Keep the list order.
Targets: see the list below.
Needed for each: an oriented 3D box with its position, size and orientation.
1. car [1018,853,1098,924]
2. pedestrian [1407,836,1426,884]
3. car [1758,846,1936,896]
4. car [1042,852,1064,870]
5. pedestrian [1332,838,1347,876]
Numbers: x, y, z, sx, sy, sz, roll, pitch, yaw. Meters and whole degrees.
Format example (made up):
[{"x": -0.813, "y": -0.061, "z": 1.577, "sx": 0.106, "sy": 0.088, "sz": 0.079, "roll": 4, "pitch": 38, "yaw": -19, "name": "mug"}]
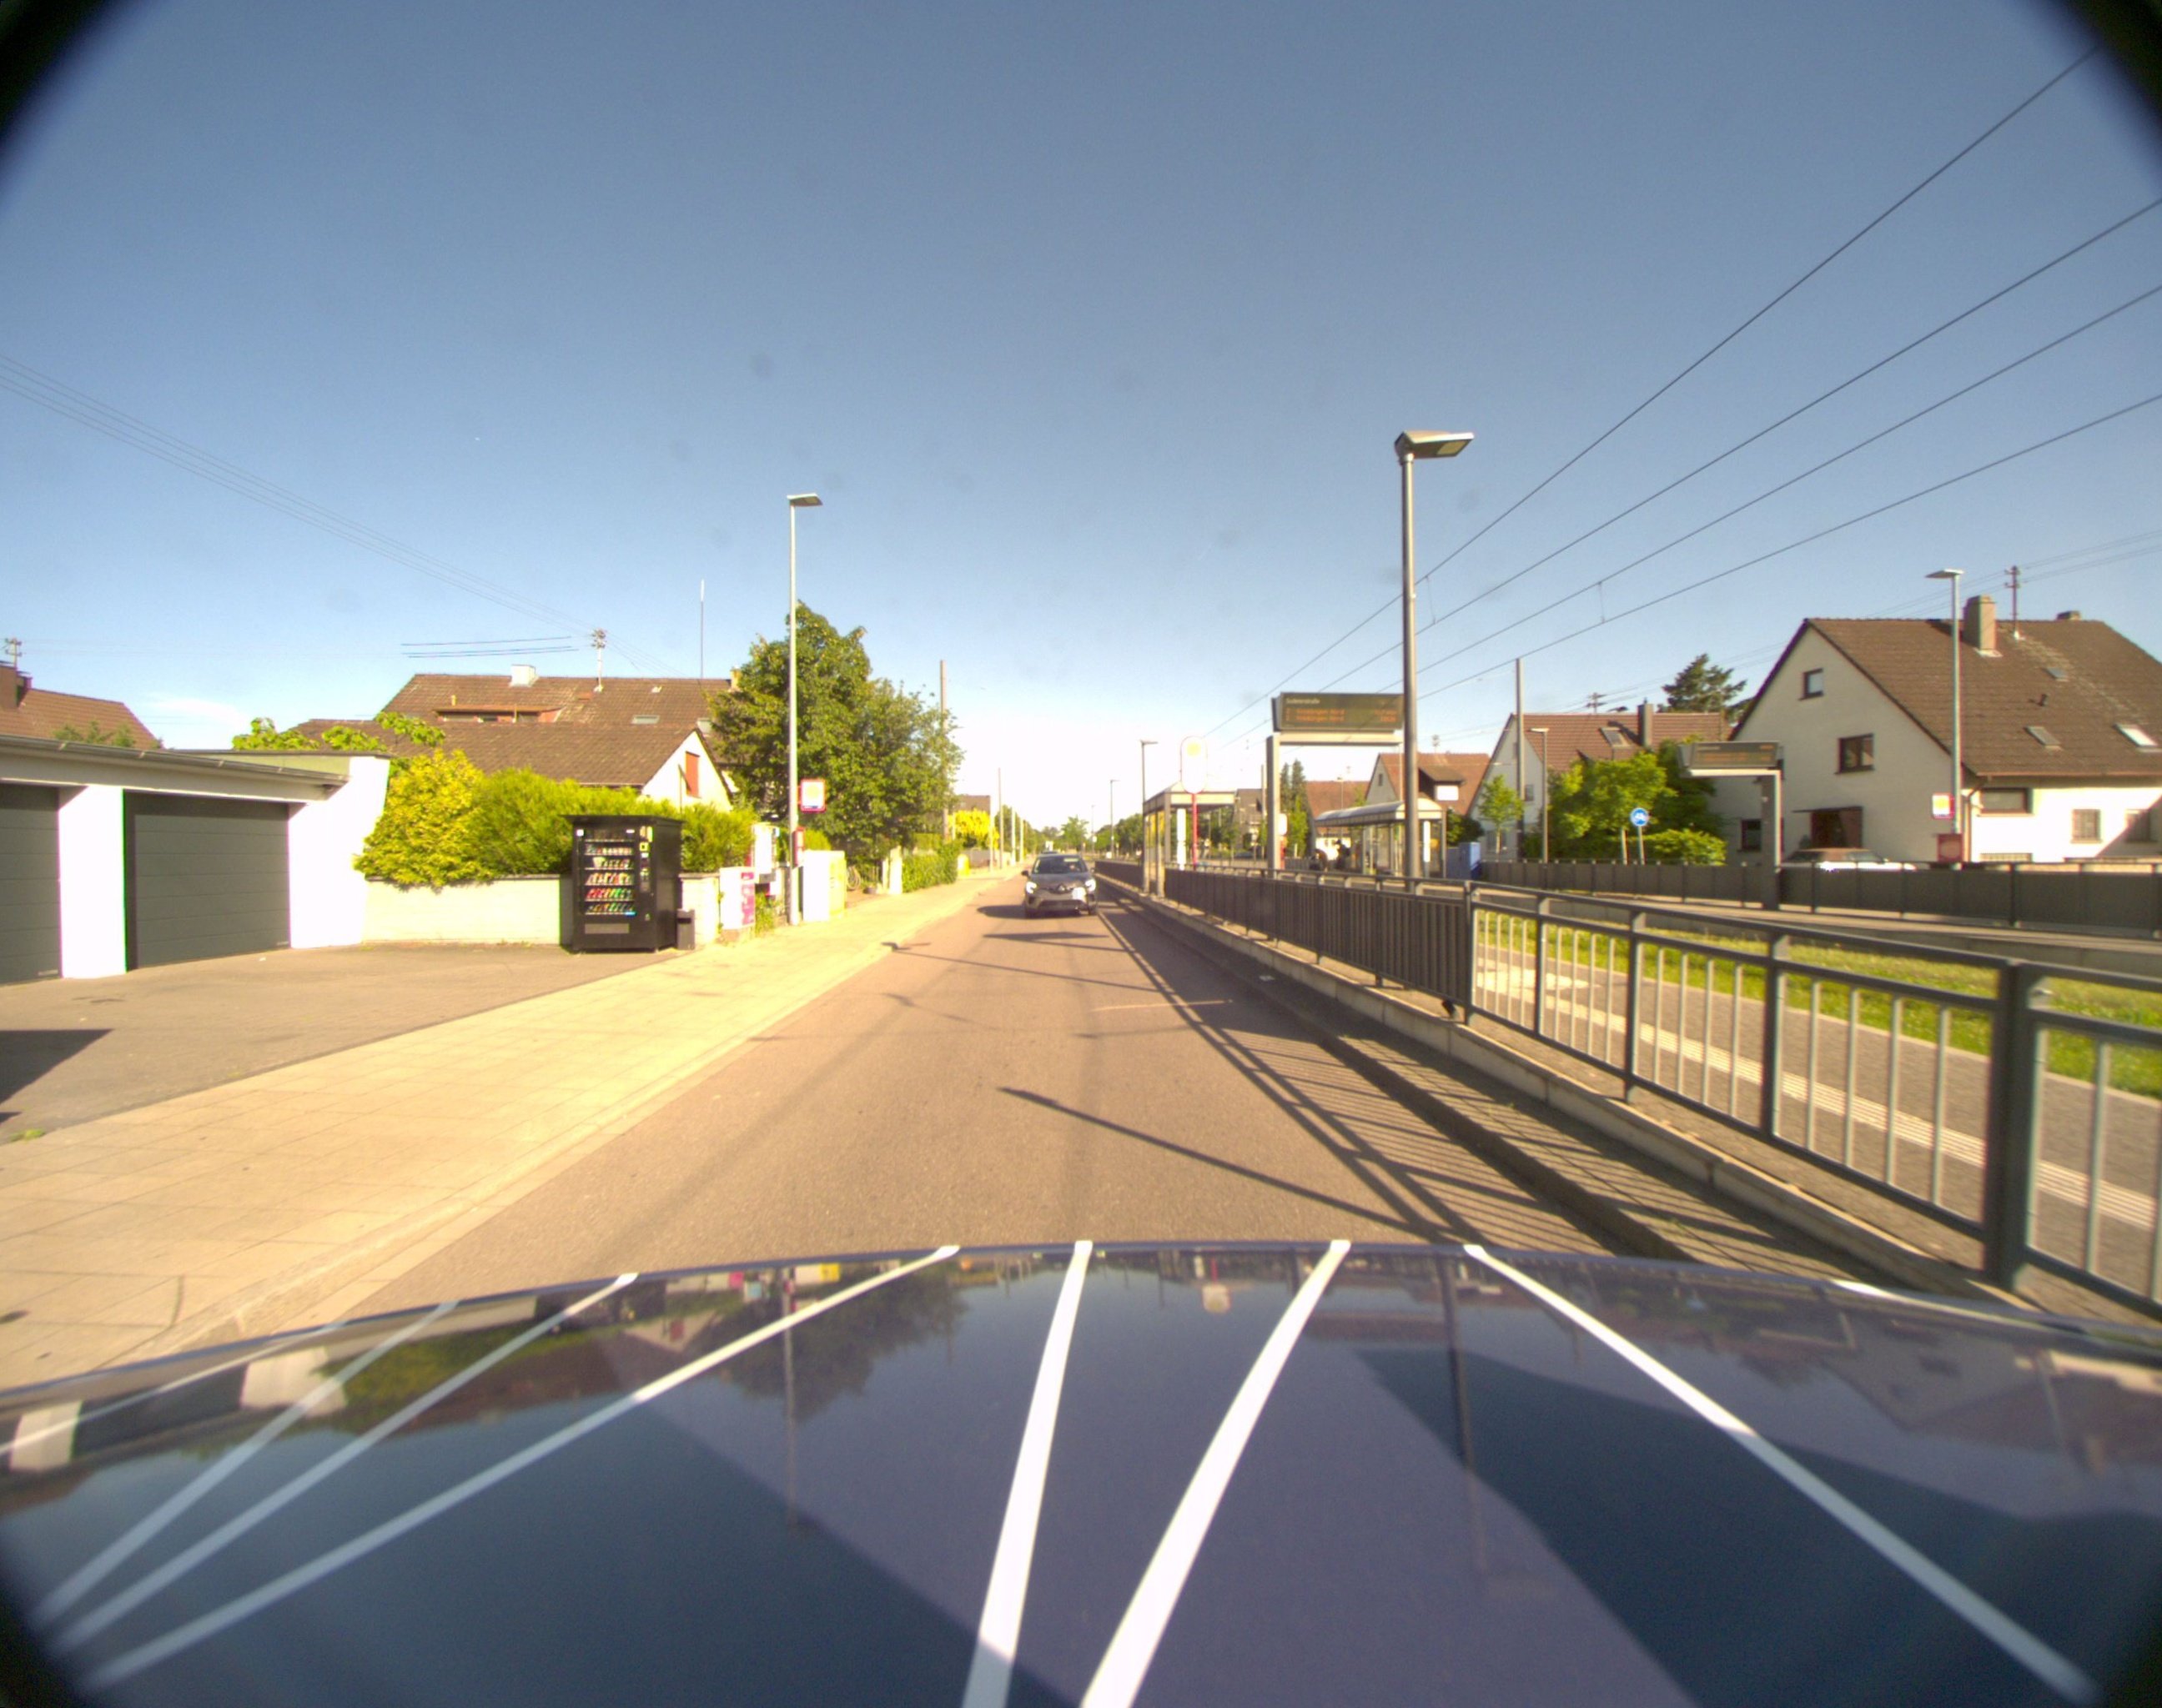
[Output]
[{"x": -0.524, "y": 0.817, "z": 20.054, "sx": 1.829, "sy": 1.570, "sz": 3.999, "roll": -2, "pitch": 1, "yaw": 1, "name": "car"}, {"x": 12.341, "y": 0.226, "z": 27.954, "sx": 0.622, "sy": 1.742, "sz": 0.442, "roll": 0, "pitch": 1, "yaw": 18, "name": "pedestrian"}, {"x": 25.108, "y": 0.540, "z": 24.999, "sx": 3.990, "sy": 1.526, "sz": 1.999, "roll": -1, "pitch": 0, "yaw": -4, "name": "car"}, {"x": -2.274, "y": 0.557, "z": 63.388, "sx": 1.687, "sy": 1.379, "sz": 3.999, "roll": -2, "pitch": 0, "yaw": -1, "name": "car"}, {"x": 11.952, "y": 0.127, "z": 35.136, "sx": 0.535, "sy": 1.742, "sz": 0.543, "roll": -1, "pitch": 1, "yaw": -2, "name": "pedestrian"}]
